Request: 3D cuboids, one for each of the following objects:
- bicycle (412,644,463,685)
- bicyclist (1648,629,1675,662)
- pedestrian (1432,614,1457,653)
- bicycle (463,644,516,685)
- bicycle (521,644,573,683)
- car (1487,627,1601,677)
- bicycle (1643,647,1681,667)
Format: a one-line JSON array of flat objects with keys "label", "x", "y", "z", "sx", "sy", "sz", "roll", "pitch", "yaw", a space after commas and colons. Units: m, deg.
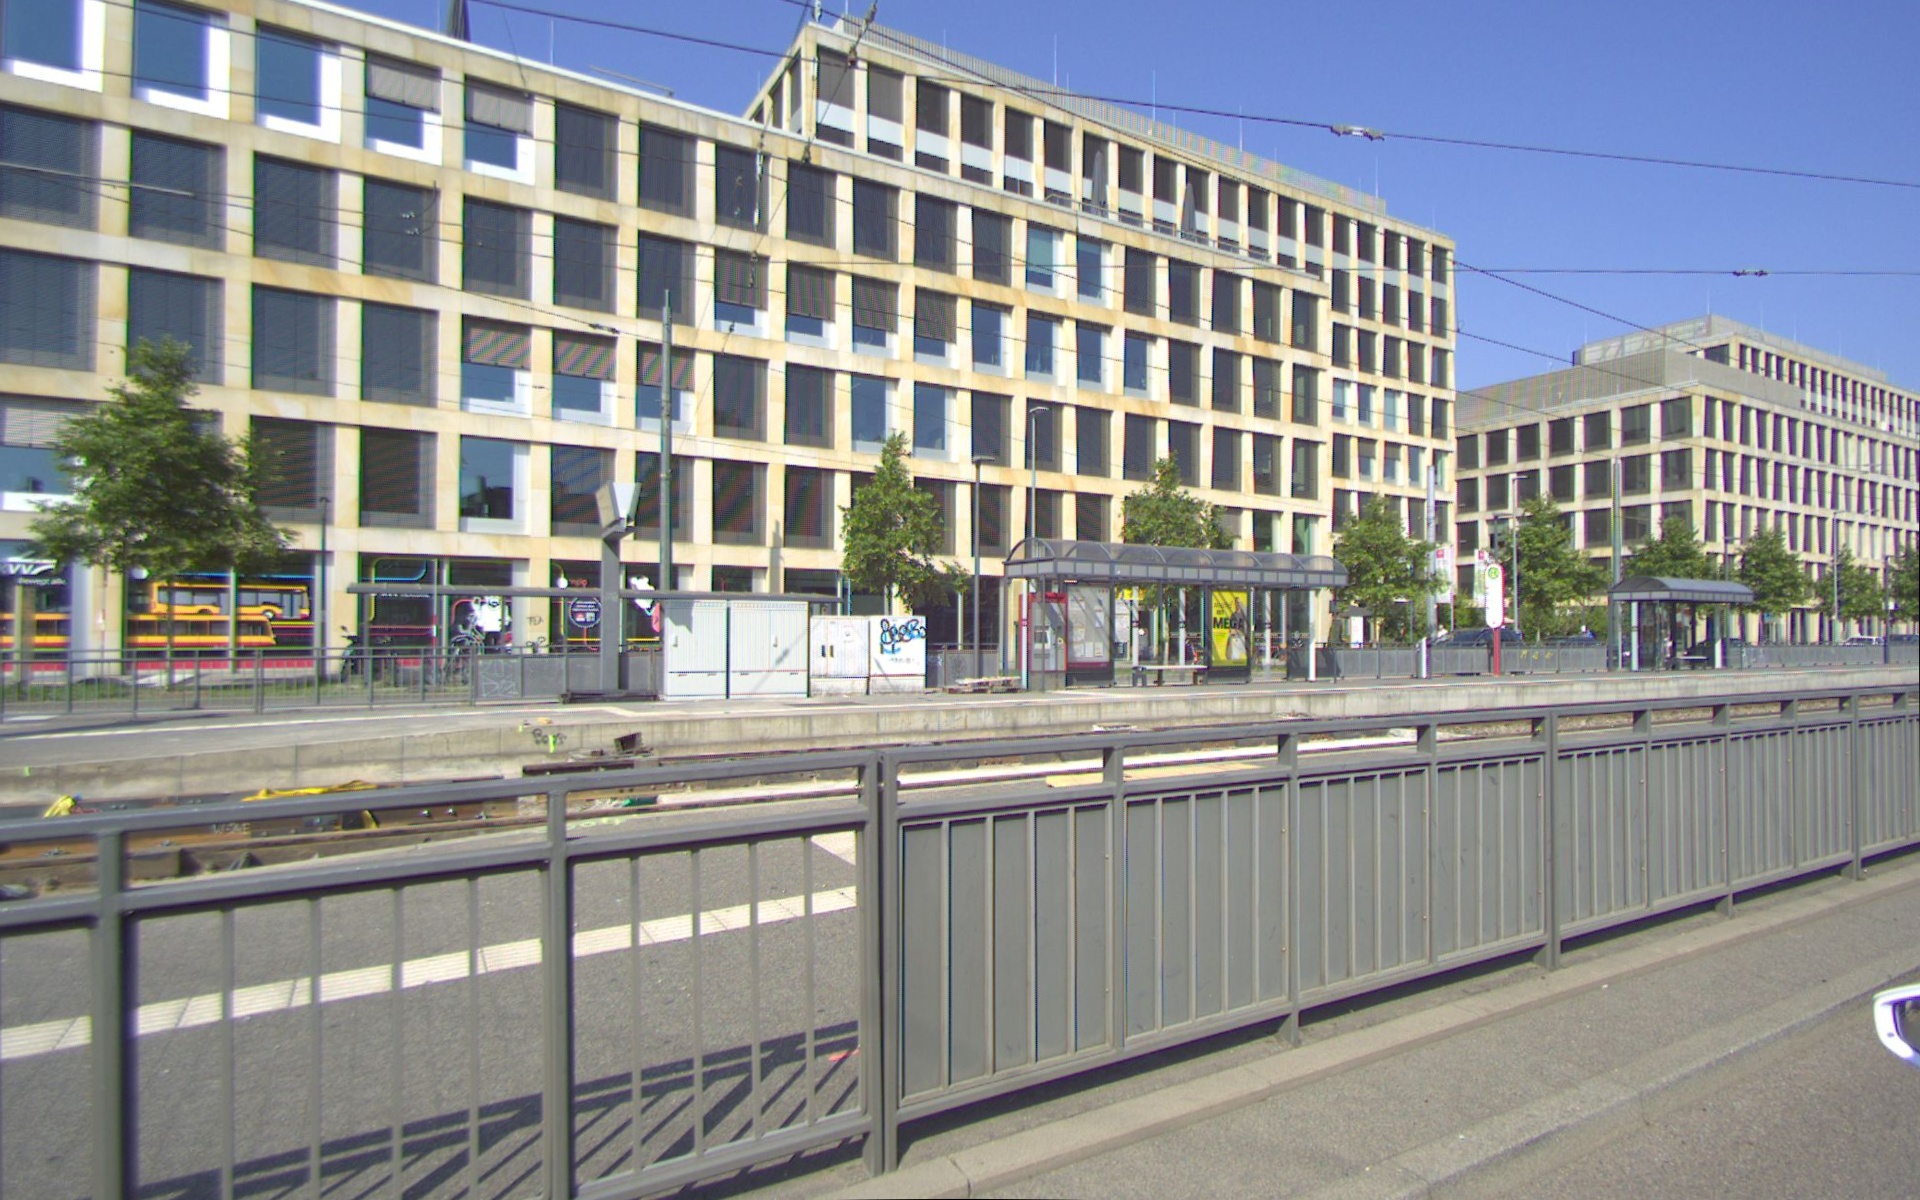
[{"label": "bicycle", "x": -13.485, "y": 1.629, "z": 25.878, "sx": 1.009, "sy": 0.980, "sz": 2.418, "roll": 1, "pitch": -2, "yaw": -31}, {"label": "bicyclist", "x": 30.806, "y": 1.995, "z": 44.108, "sx": 0.775, "sy": 1.420, "sz": 0.626, "roll": 3, "pitch": -5, "yaw": -31}, {"label": "pedestrian", "x": 25.132, "y": 1.745, "z": 52.087, "sx": 0.830, "sy": 1.941, "sz": 0.788, "roll": 3, "pitch": -6, "yaw": -36}, {"label": "bicycle", "x": -12.409, "y": 1.675, "z": 26.456, "sx": 1.009, "sy": 0.980, "sz": 2.418, "roll": 1, "pitch": -2, "yaw": -31}, {"label": "bicycle", "x": -11.217, "y": 1.700, "z": 27.233, "sx": 0.934, "sy": 0.980, "sz": 2.418, "roll": 1, "pitch": -2, "yaw": -31}, {"label": "car", "x": 19.420, "y": 1.689, "z": 33.397, "sx": 3.714, "sy": 1.591, "sz": 1.654, "roll": 1, "pitch": -2, "yaw": -30}, {"label": "bicycle", "x": 30.788, "y": 2.494, "z": 44.059, "sx": 1.876, "sy": 0.832, "sz": 0.626, "roll": 3, "pitch": -6, "yaw": -31}]
